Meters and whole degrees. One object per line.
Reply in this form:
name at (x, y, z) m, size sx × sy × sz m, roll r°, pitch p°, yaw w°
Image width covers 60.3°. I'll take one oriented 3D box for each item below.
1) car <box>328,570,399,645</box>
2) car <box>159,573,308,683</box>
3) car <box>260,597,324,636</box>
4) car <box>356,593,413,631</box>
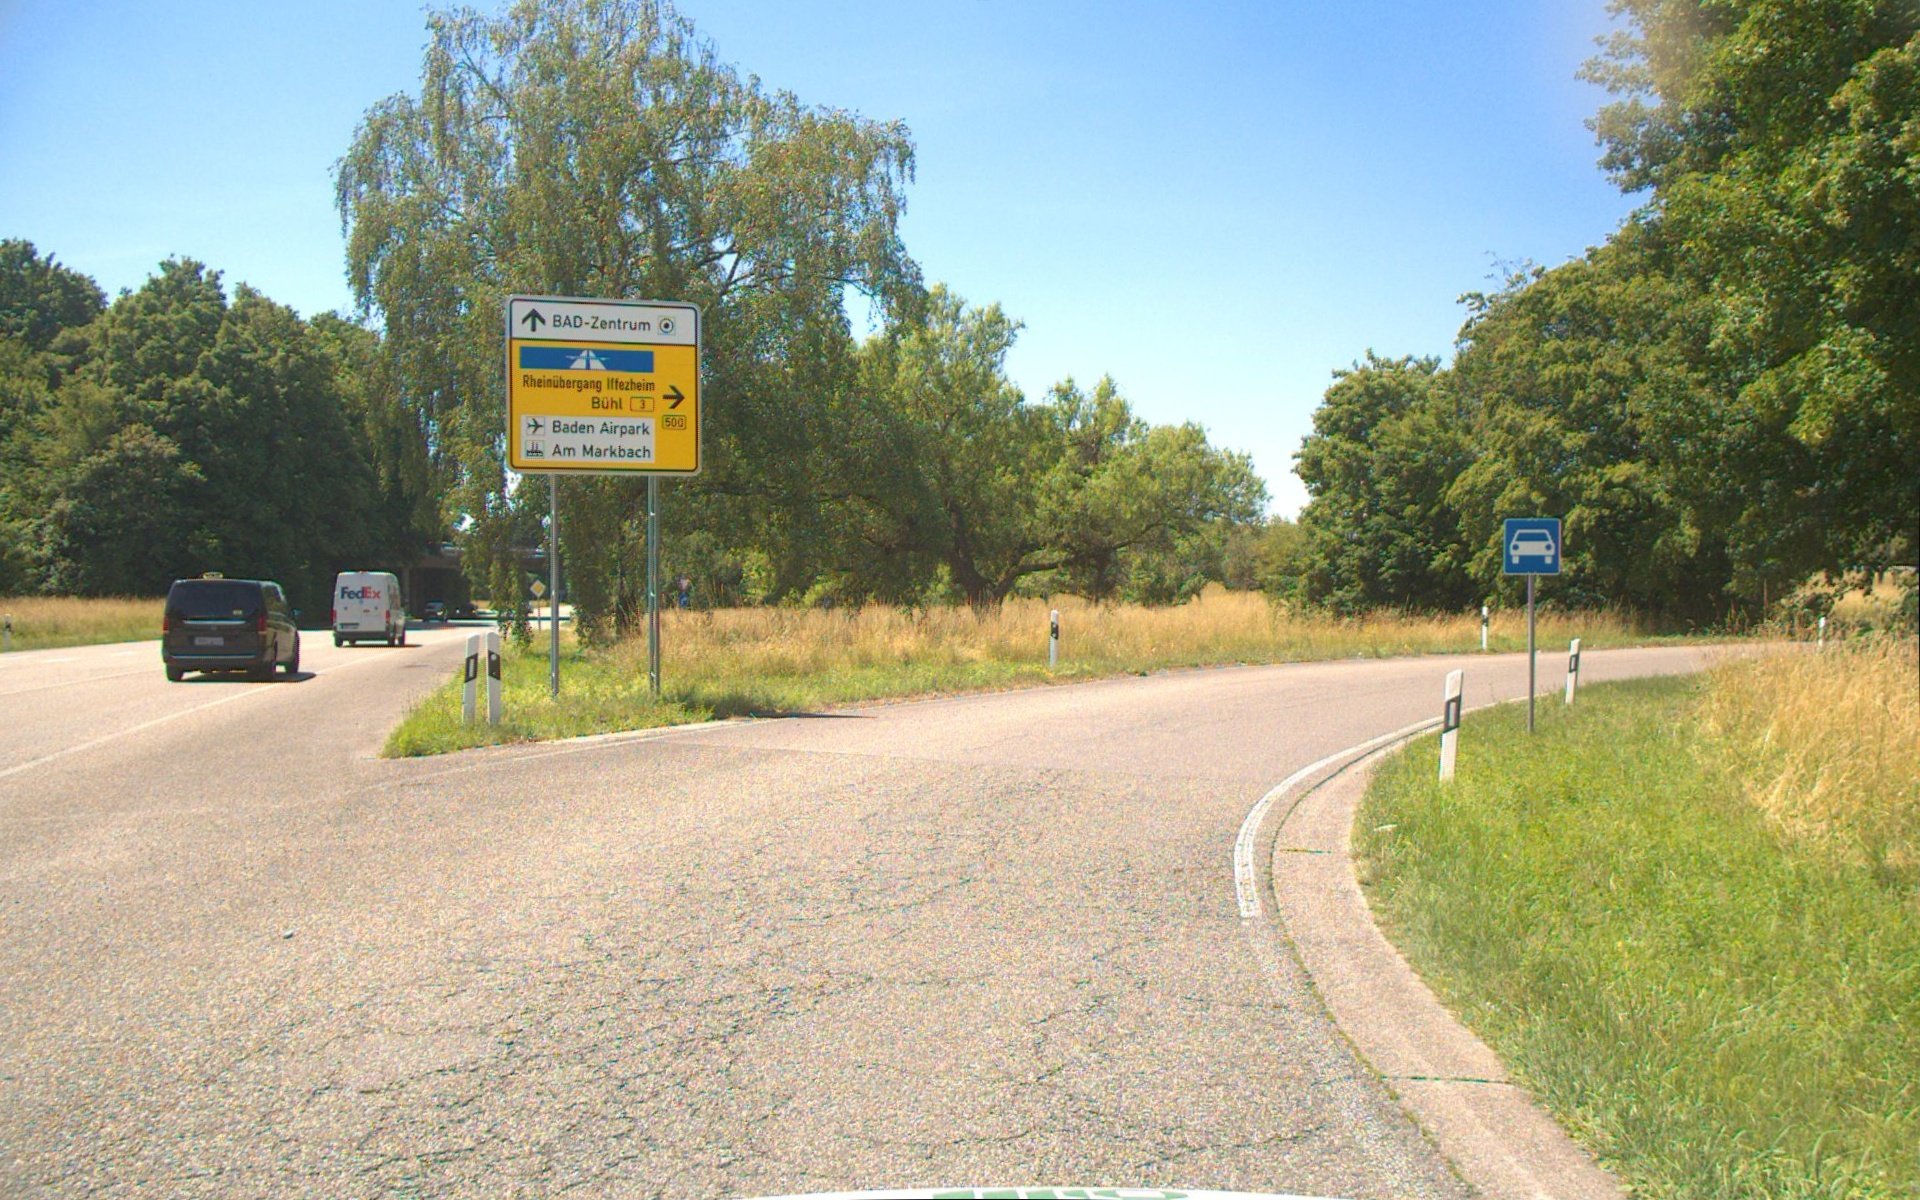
car at (-21.237, 0.268, 59.051) m, size 2.083 × 2.545 × 4.071 m, roll 1°, pitch 0°, yaw -16°
car at (-13.955, 0.508, 32.004) m, size 1.960 × 1.982 × 4.074 m, roll 1°, pitch 0°, yaw -14°
car at (-29.671, 0.728, 73.609) m, size 2.081 × 1.663 × 4.074 m, roll 1°, pitch 0°, yaw -14°
car at (-26.121, 0.541, 75.176) m, size 2.081 × 1.663 × 4.074 m, roll 1°, pitch 0°, yaw -14°
